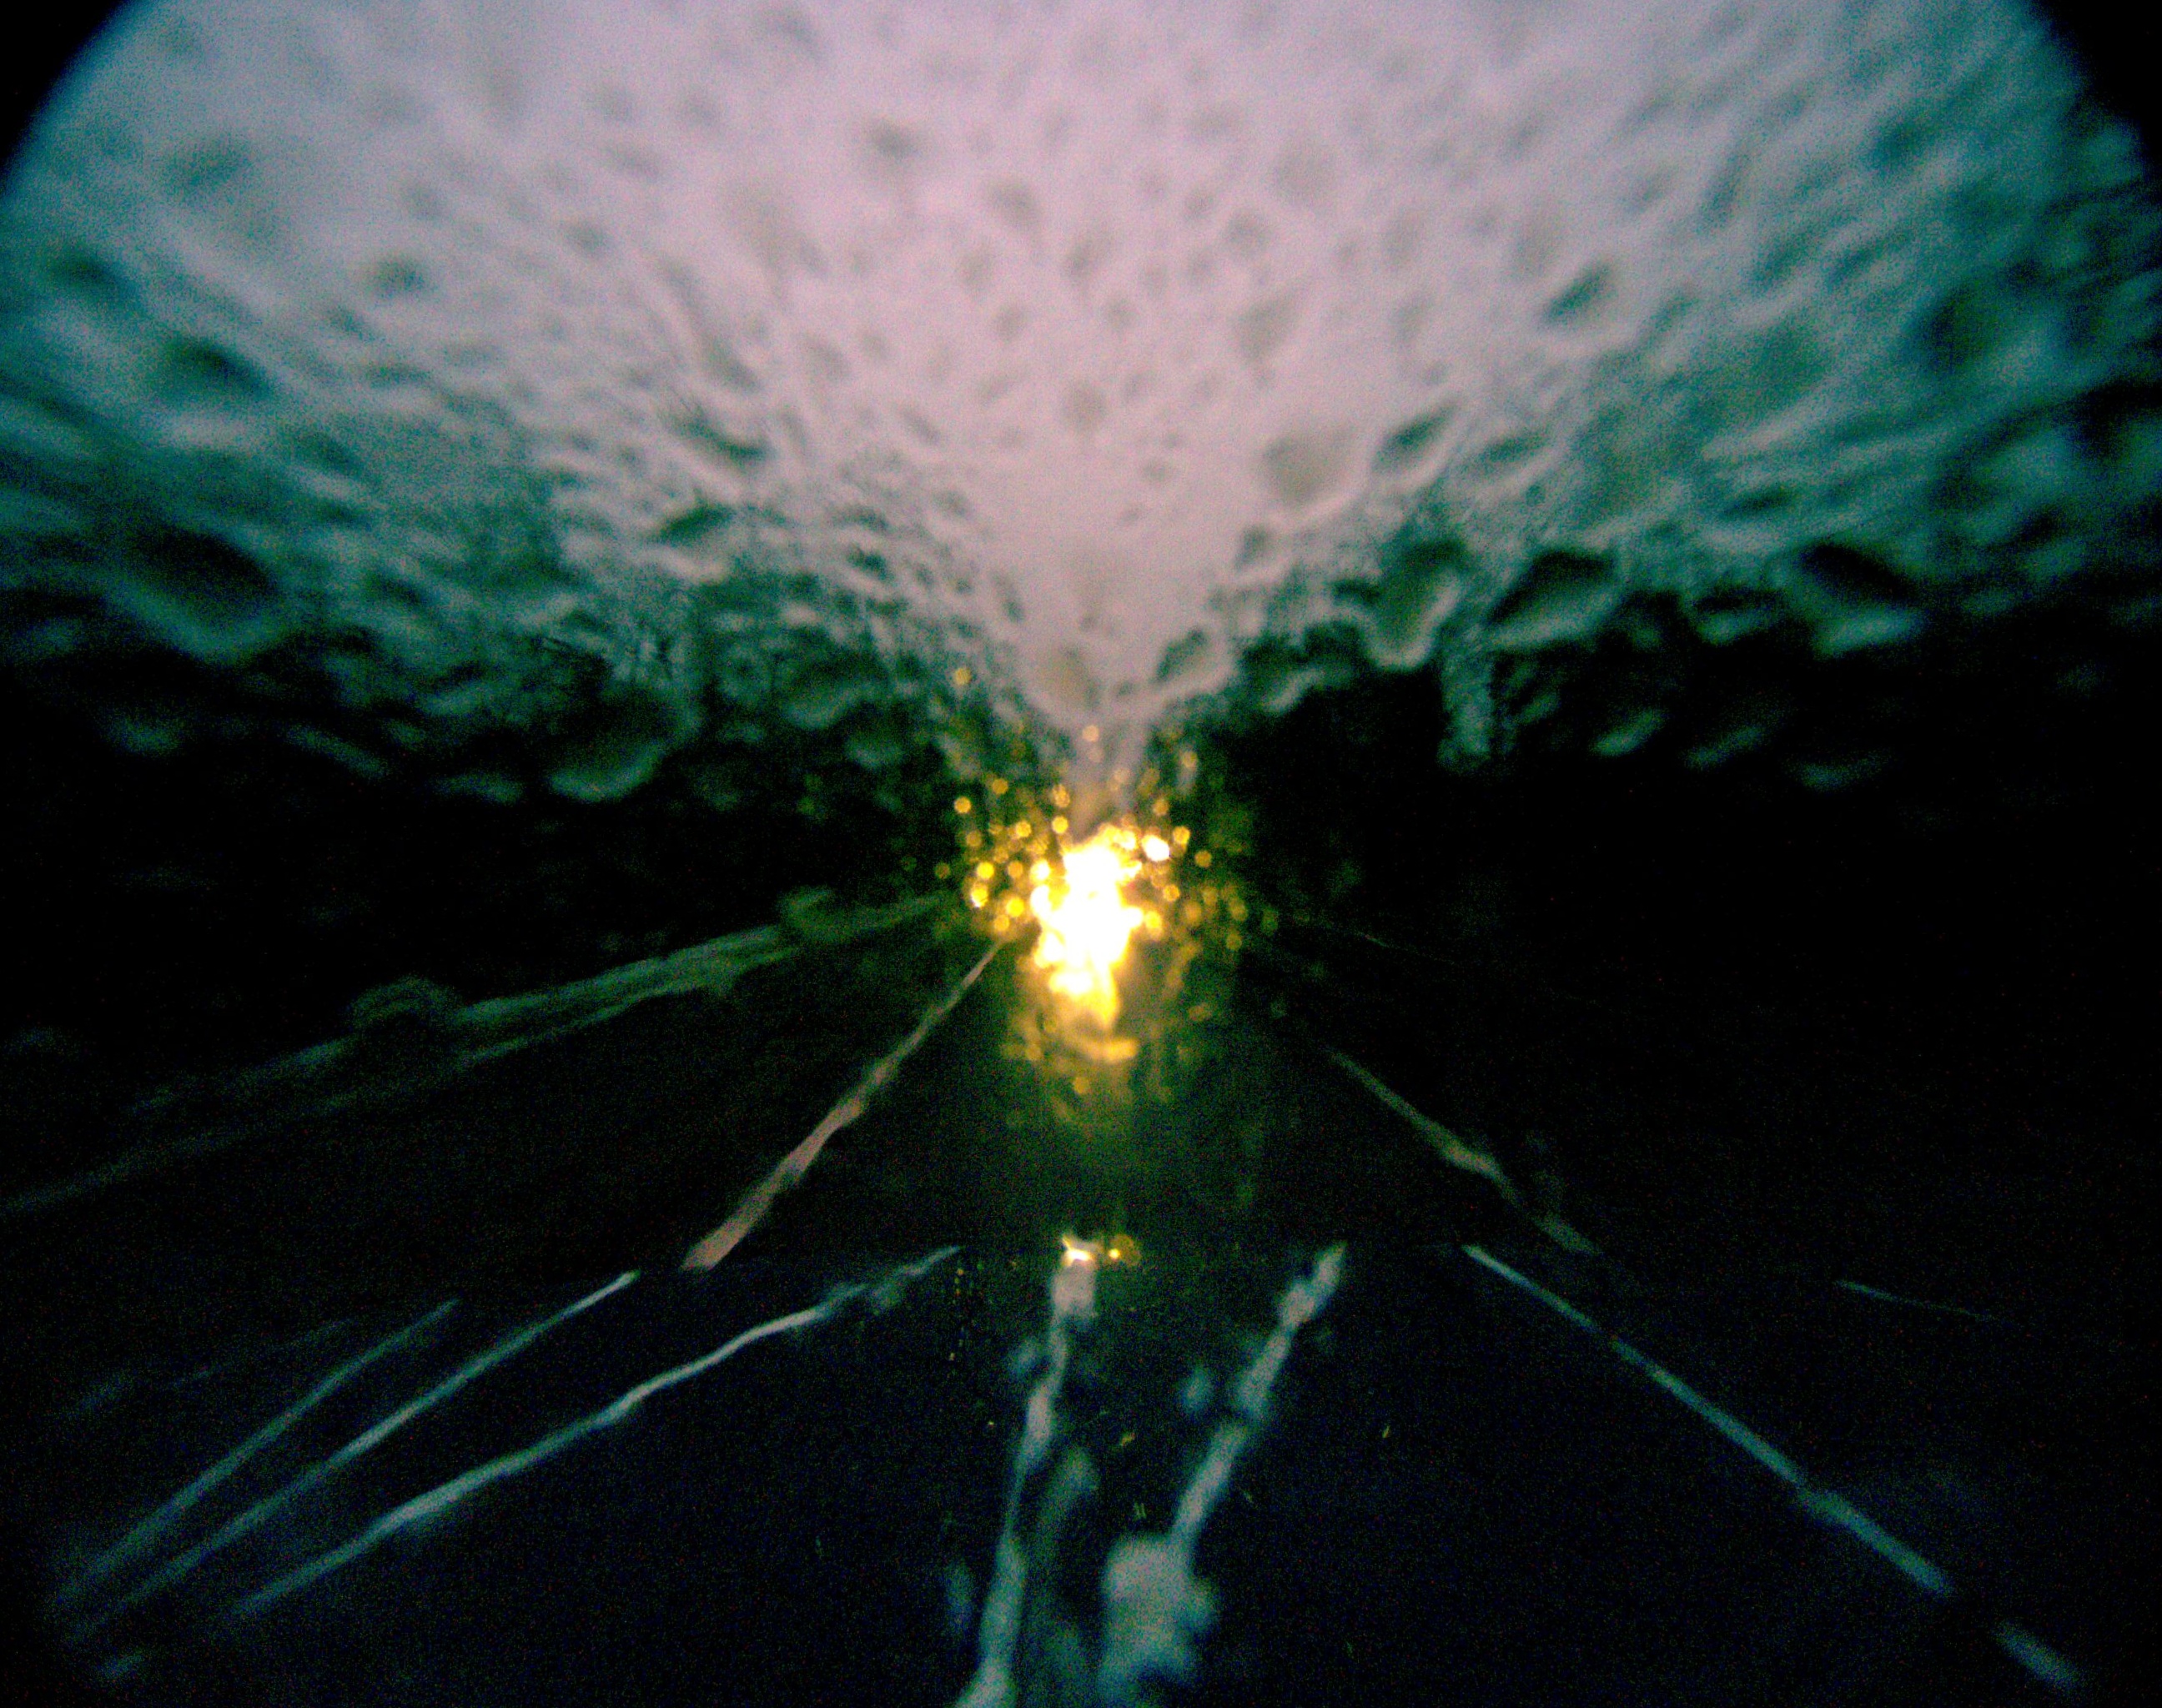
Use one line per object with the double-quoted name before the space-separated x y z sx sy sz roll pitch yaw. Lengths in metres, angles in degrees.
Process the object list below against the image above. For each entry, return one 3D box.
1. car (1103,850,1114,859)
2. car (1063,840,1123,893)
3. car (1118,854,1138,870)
"car" 5.262 0.112 145.903 1.826 1.639 4.750 1 0 1
"car" 0.601 0.496 35.973 2.542 2.213 6.169 -2 1 2
"car" 4.826 0.759 77.971 1.979 1.559 4.928 0 0 3
